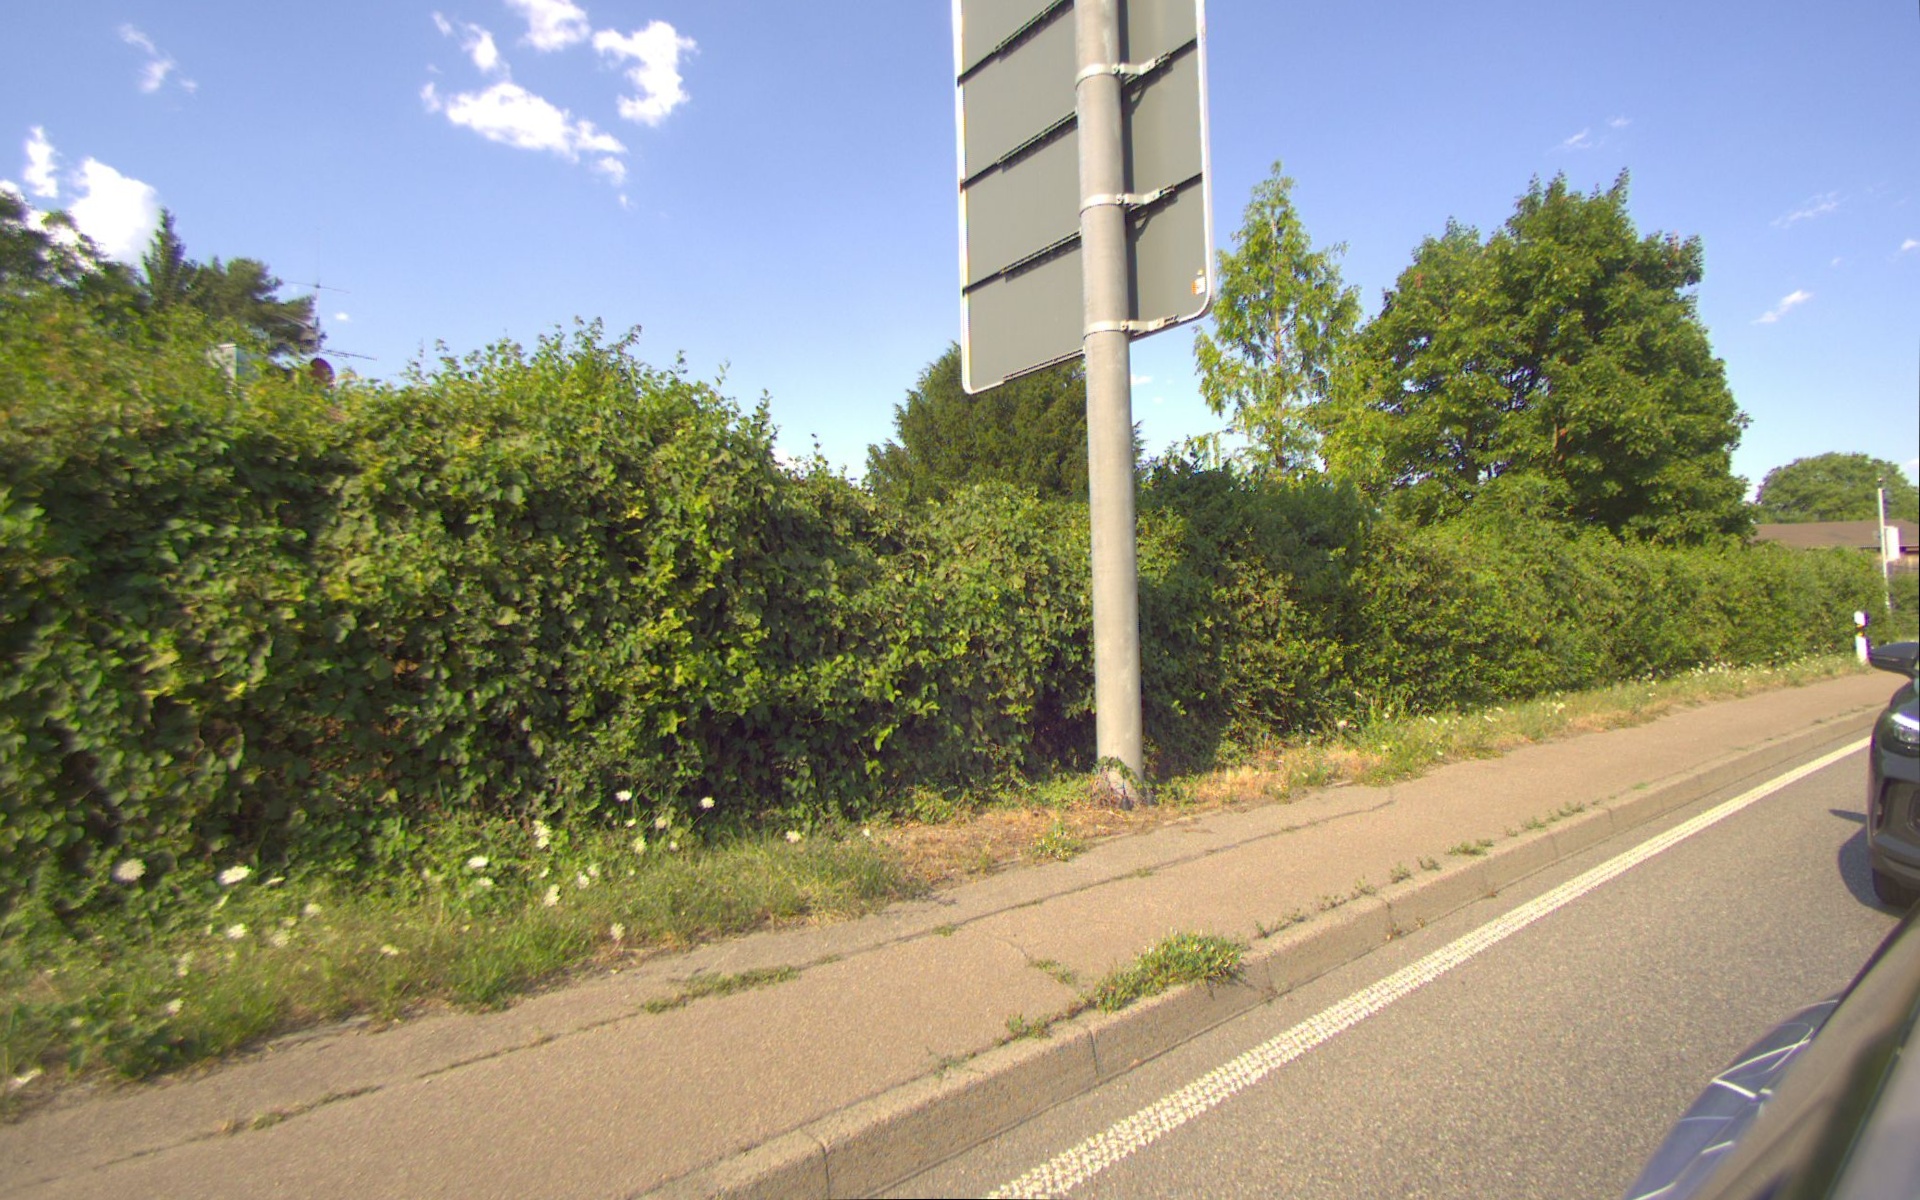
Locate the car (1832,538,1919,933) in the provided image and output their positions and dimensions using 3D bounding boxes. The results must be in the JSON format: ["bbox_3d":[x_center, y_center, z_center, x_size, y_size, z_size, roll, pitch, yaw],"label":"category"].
[{"bbox_3d":[5.951,0.538,4.989,3.930,1.662,1.865,-2,2,-39],"label":"car"}]
